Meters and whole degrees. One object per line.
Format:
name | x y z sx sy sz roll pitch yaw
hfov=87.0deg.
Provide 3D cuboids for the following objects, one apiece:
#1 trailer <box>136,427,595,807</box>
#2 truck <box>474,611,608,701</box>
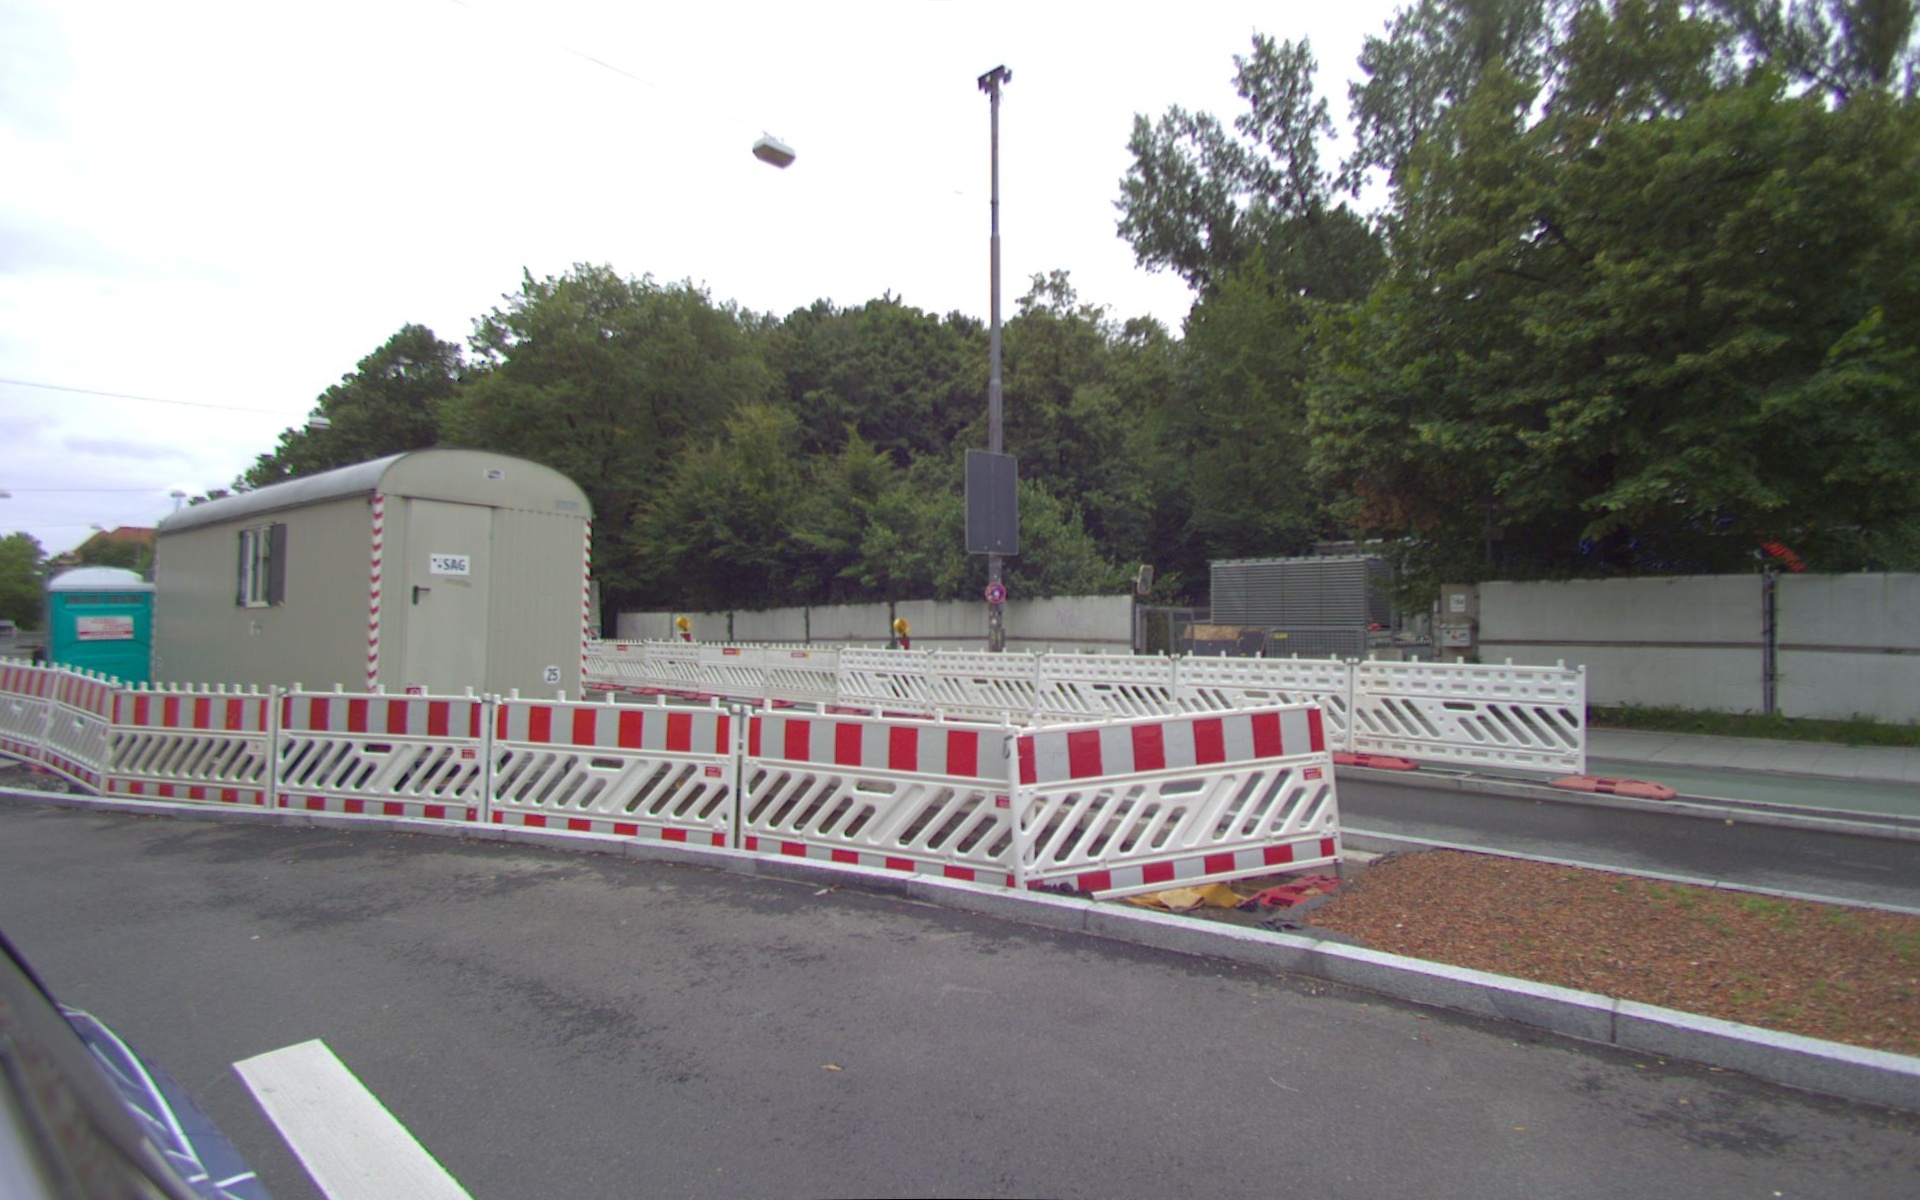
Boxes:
trailer | -7.350 0.246 11.944 7.511 3.268 2.205 -2 -2 39
truck | -13.999 1.797 33.590 5.872 2.749 1.971 -2 -2 45
